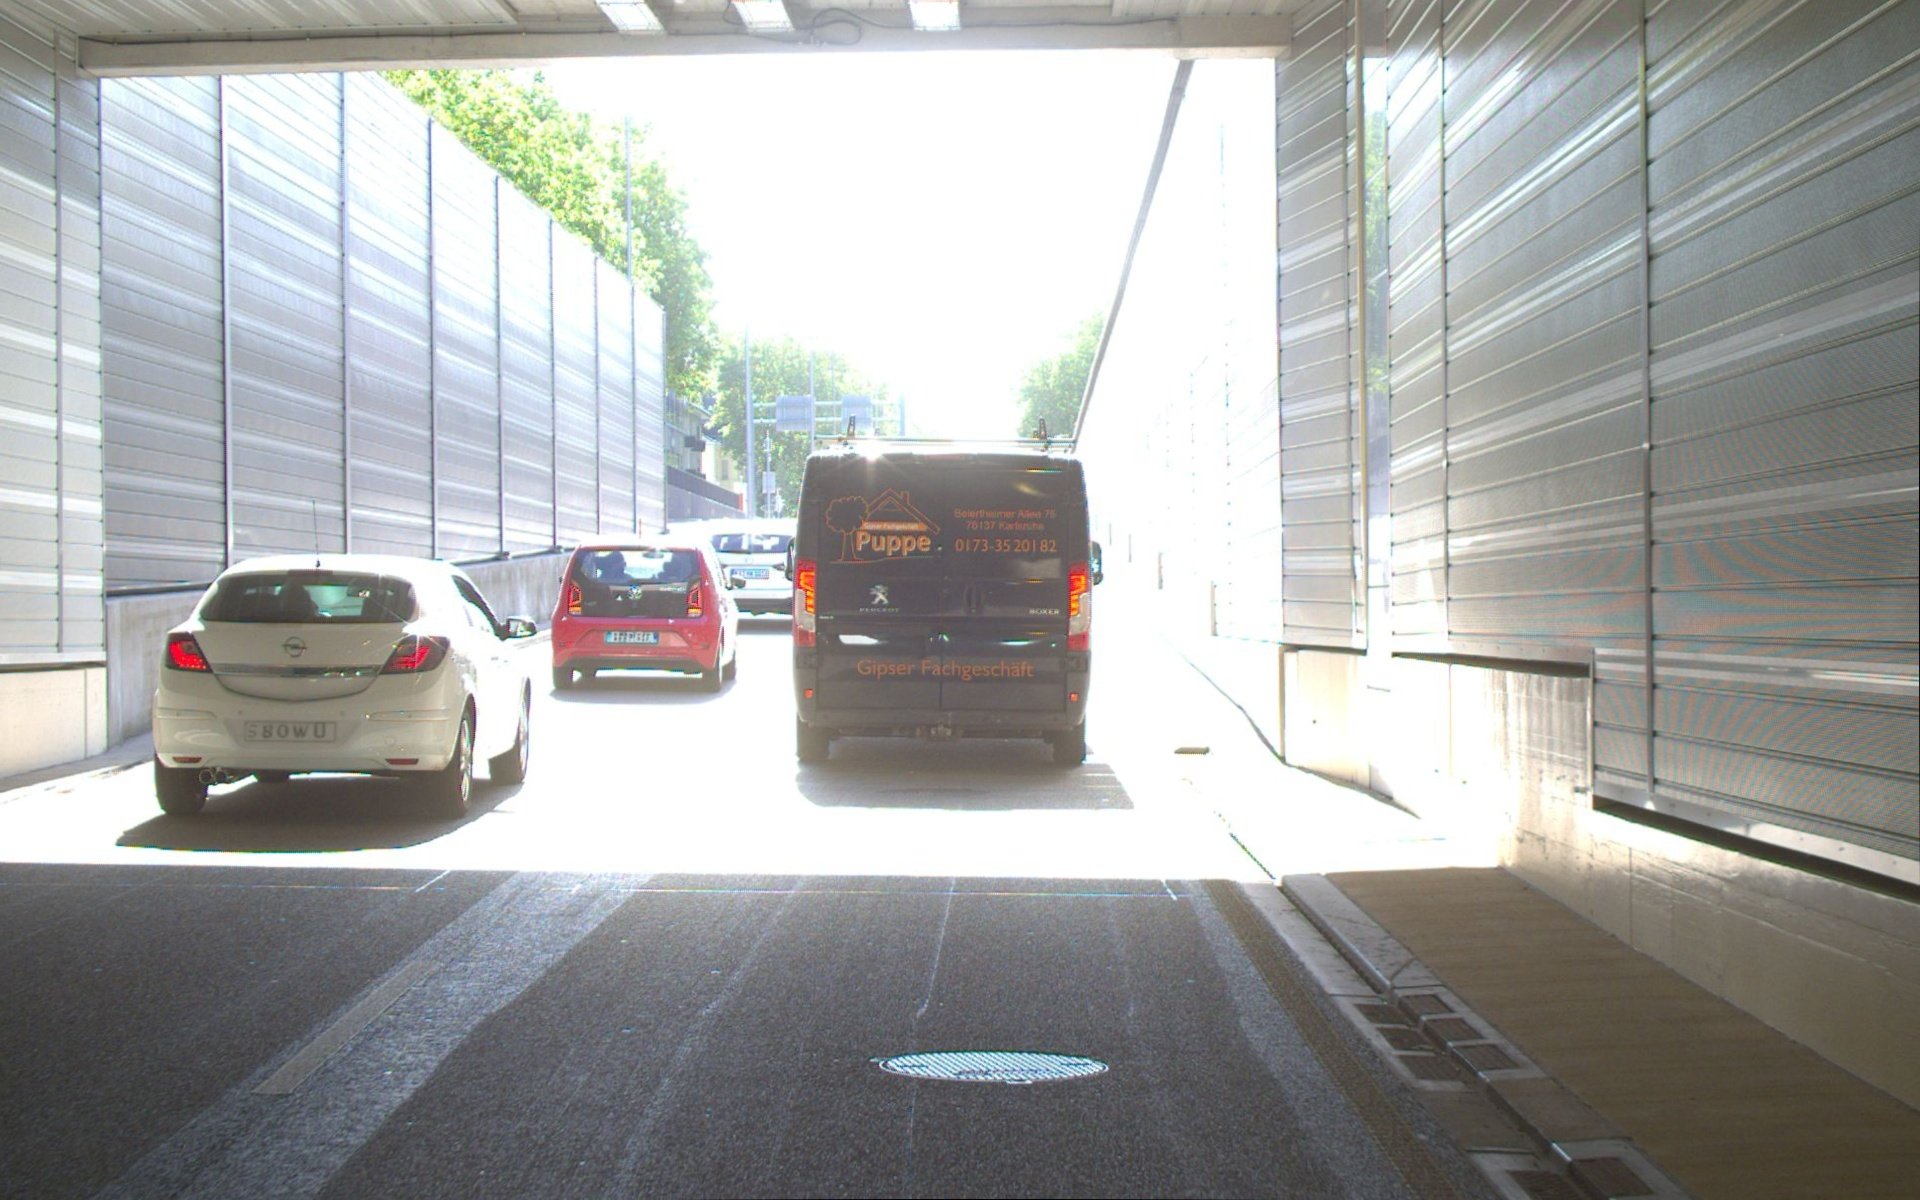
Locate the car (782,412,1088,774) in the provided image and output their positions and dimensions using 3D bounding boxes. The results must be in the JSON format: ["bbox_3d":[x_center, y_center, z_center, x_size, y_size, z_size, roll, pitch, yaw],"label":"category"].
[{"bbox_3d":[-0.130,-0.102,24.755,2.030,2.394,3.973,0,2,1],"label":"car"}]

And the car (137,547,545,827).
[{"bbox_3d":[-3.497,0.430,20.044,1.619,1.398,3.852,1,2,1],"label":"car"}]

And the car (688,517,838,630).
[{"bbox_3d":[-2.765,-0.407,48.972,1.892,1.469,3.991,1,2,0],"label":"car"}]

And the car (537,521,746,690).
[{"bbox_3d":[-3.073,0.011,33.670,1.689,1.478,3.319,1,3,1],"label":"car"}]
